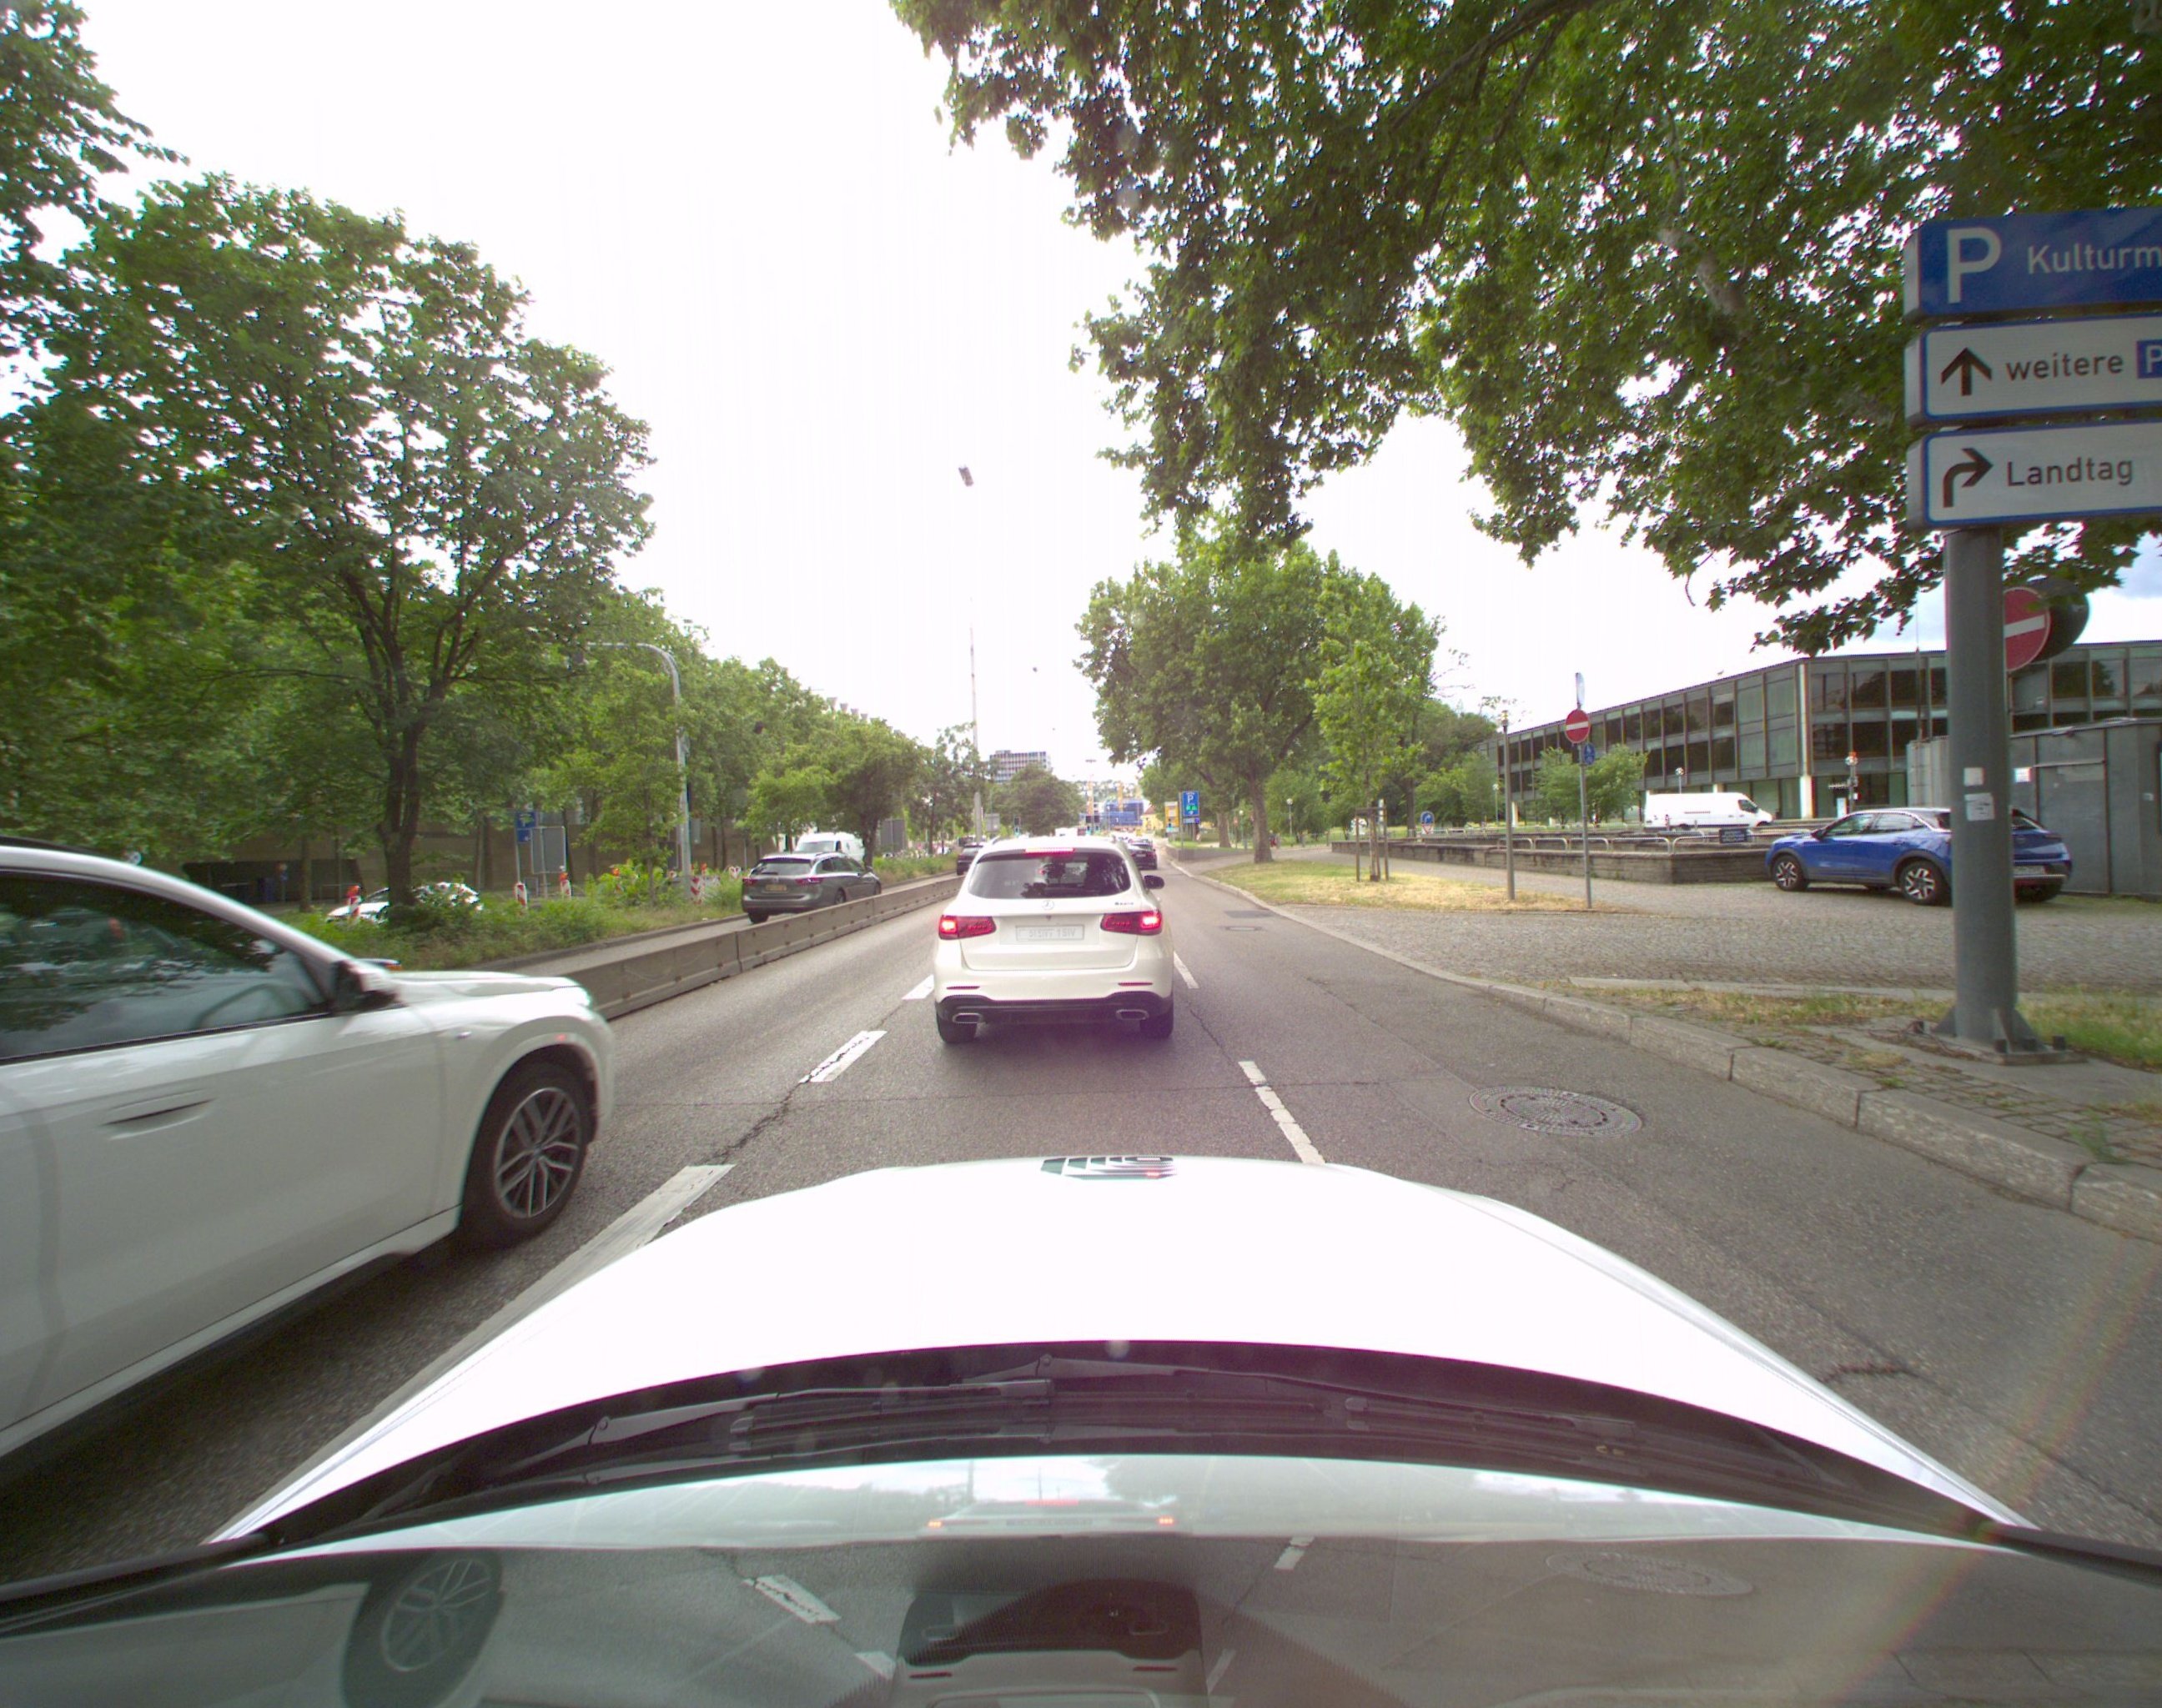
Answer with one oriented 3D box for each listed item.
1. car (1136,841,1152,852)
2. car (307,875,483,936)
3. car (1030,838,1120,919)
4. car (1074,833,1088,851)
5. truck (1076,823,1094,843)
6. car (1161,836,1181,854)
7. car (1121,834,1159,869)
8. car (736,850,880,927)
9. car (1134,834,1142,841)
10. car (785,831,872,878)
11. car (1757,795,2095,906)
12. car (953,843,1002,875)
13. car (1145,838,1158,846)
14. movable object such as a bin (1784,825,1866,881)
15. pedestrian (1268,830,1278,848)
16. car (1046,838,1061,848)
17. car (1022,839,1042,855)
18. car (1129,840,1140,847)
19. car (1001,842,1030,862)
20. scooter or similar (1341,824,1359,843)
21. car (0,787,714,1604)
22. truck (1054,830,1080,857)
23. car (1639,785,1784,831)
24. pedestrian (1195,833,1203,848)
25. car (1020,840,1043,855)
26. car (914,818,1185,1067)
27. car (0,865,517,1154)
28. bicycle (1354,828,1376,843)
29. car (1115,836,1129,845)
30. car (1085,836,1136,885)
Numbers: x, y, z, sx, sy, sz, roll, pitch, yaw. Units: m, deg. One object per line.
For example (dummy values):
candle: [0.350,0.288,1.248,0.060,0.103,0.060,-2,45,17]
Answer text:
car: [8.344,-1.045,108.292,1.939,1.428,4.020,-1,1,3]
car: [-21.838,1.582,26.219,1.639,1.526,4.525,-2,1,2]
car: [-0.201,0.477,18.392,1.791,1.608,3.751,-1,1,-3]
car: [0.026,-1.743,120.024,1.987,2.475,3.999,-2,1,-1]
truck: [0.599,-3.206,126.587,2.682,2.991,5.639,0,0,1]
car: [10.446,-1.021,94.669,1.985,2.013,4.003,-1,1,3]
car: [3.182,-0.181,44.313,1.818,1.752,4.002,-2,1,1]
car: [-5.756,0.652,17.696,1.655,1.436,3.962,-1,0,1]
car: [13.759,-3.954,196.322,1.752,1.668,4.170,-2,1,2]
car: [-11.696,-0.018,38.245,2.107,1.969,5.581,-2,1,2]
car: [13.923,-0.152,13.829,1.752,1.551,4.032,-2,3,4]
car: [-5.124,0.212,40.953,1.769,1.420,4.002,-2,1,2]
car: [11.360,-1.923,131.393,1.939,1.319,4.020,-1,1,3]
movable object such as a bin: [15.438,-0.035,16.920,1.004,1.064,0.770,-2,4,-1]
pedestrian: [16.778,-1.313,71.106,0.632,1.610,0.667,-2,1,31]
car: [-3.777,-1.500,111.635,1.652,1.319,3.550,-1,1,3]
car: [-4.851,-0.731,81.461,1.653,1.513,3.549,-2,1,2]
car: [10.258,-2.062,156.652,1.939,1.319,4.020,-1,1,3]
car: [-4.609,-0.181,57.677,1.653,1.319,3.549,-1,1,2]
scooter or similar: [18.401,-1.366,55.691,0.633,1.245,2.228,0,0,4]
car: [-3.074,0.697,2.107,1.844,1.628,4.909,-1,0,2]
truck: [-1.473,-1.228,90.741,2.612,2.861,7.080,-1,1,1]
car: [35.184,-2.531,45.594,6.081,2.260,2.404,-2,1,3]
pedestrian: [15.439,-1.785,106.801,0.752,2.013,0.703,-2,1,38]
car: [-4.350,-0.587,72.415,1.653,1.319,3.549,-1,1,2]
car: [-0.180,0.576,7.710,1.782,1.625,4.438,-2,0,1]
car: [-6.347,0.860,5.559,1.672,1.366,4.545,-2,1,1]
bicycle: [21.651,-1.413,62.190,0.950,1.063,2.336,0,0,1]
car: [6.136,-2.027,121.113,1.939,1.319,4.020,-1,1,3]
car: [1.001,0.209,29.413,1.654,1.639,3.546,-1,1,-1]
